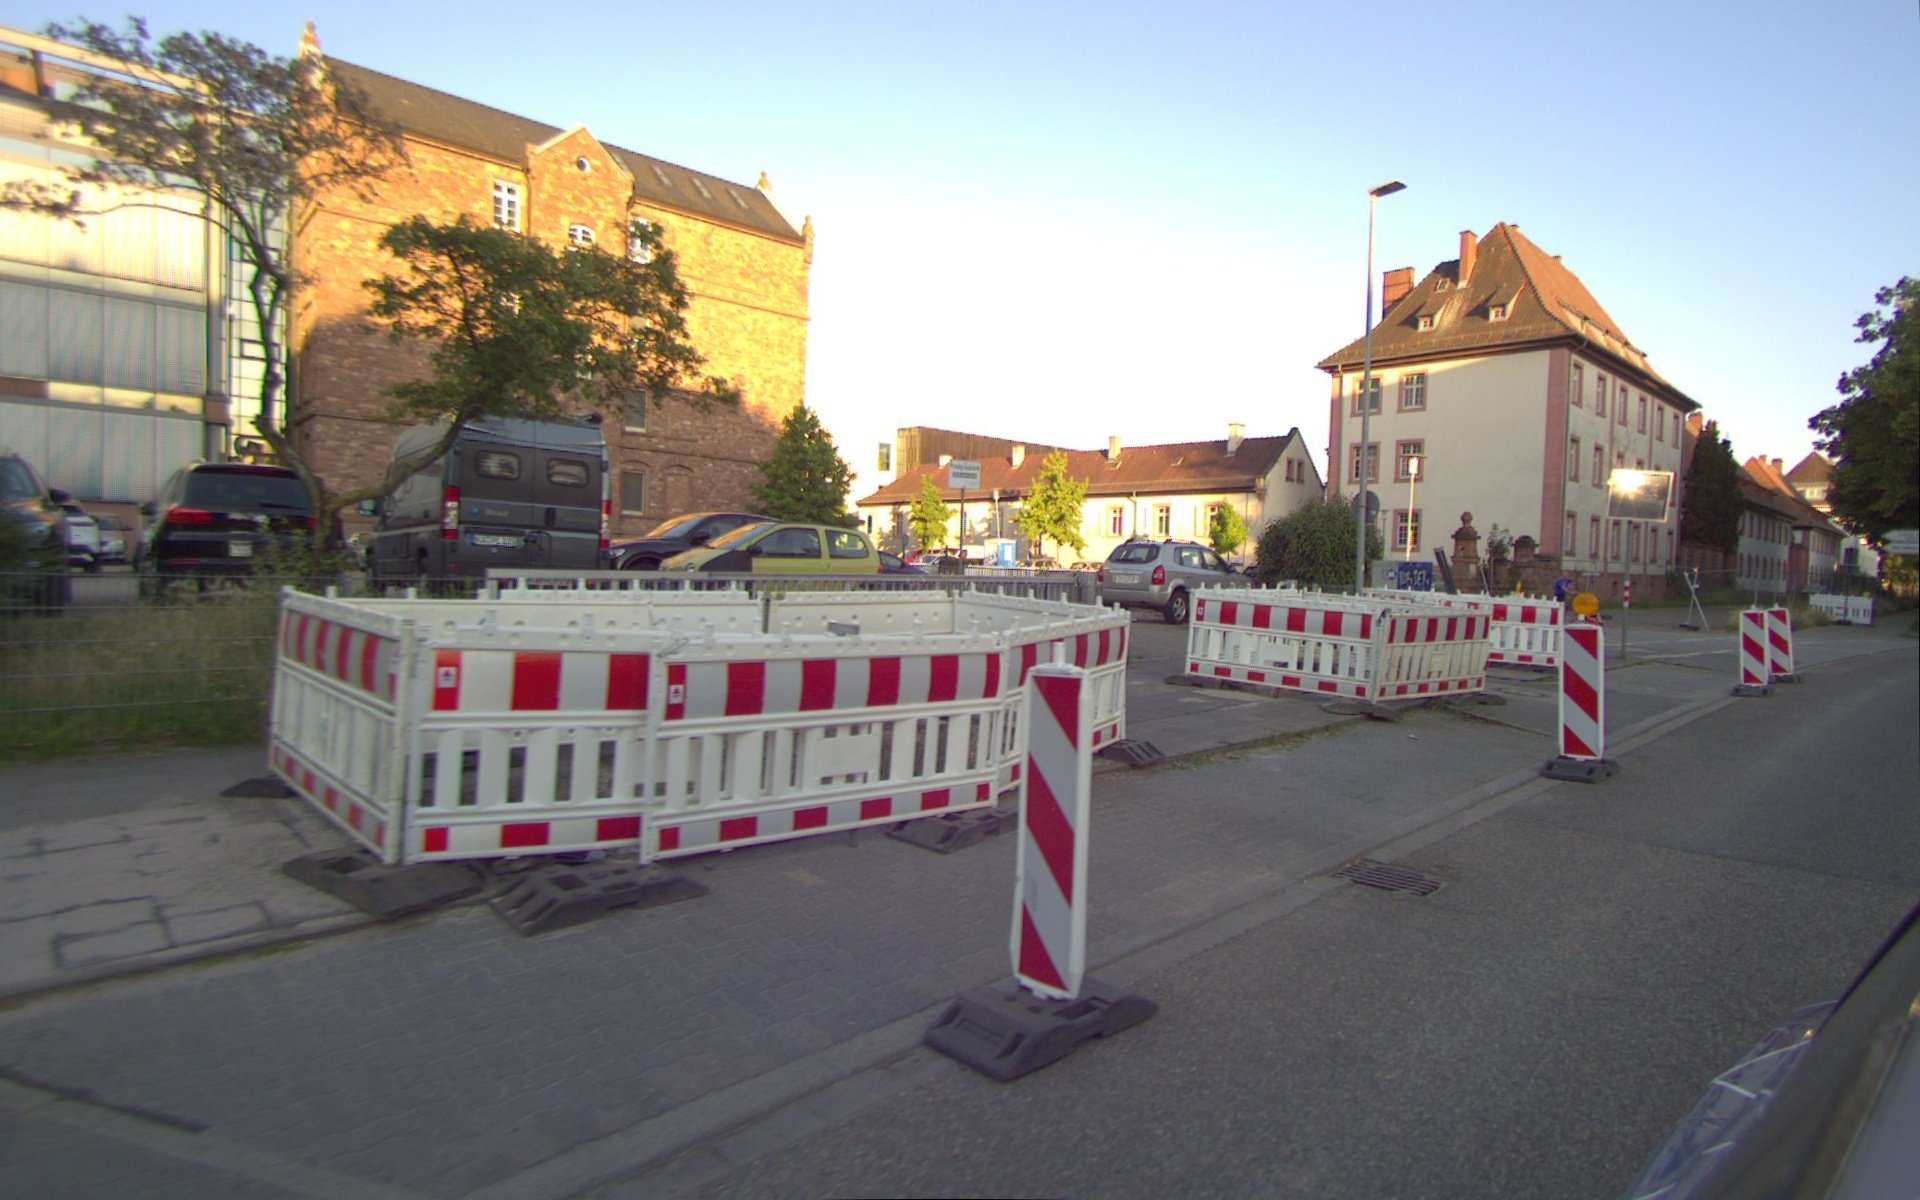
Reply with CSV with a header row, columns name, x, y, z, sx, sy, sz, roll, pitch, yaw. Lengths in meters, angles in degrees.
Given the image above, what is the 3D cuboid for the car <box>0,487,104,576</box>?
name,x,y,z,sx,sy,sz,roll,pitch,yaw
car,-17.931,-1.337,19.752,1.810,1.557,4.359,0,3,-41

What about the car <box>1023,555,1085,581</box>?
name,x,y,z,sx,sy,sz,roll,pitch,yaw
car,5.573,-1.895,60.058,1.682,1.463,3.692,4,3,45

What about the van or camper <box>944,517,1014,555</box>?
name,x,y,z,sx,sy,sz,roll,pitch,yaw
van or camper,1.307,-4.216,66.916,1.682,2.268,4.898,3,3,45

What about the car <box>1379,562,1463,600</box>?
name,x,y,z,sx,sy,sz,roll,pitch,yaw
car,19.619,-0.794,43.019,1.995,1.477,3.935,4,3,45

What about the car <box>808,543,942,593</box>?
name,x,y,z,sx,sy,sz,roll,pitch,yaw
car,-2.679,-1.021,32.479,4.066,1.501,1.641,-1,3,-40

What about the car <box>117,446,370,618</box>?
name,x,y,z,sx,sy,sz,roll,pitch,yaw
car,-8.744,-0.799,12.210,1.967,1.713,3.992,0,3,-43

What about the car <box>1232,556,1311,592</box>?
name,x,y,z,sx,sy,sz,roll,pitch,yaw
car,14.958,-1.239,48.461,1.995,1.592,3.935,4,3,45

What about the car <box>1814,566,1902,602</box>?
name,x,y,z,sx,sy,sz,roll,pitch,yaw
car,56.255,-1.027,63.416,3.989,2.038,1.969,4,3,44

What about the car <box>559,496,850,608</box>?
name,x,y,z,sx,sy,sz,roll,pitch,yaw
car,-4.181,-0.776,17.028,4.517,1.658,1.574,-1,3,-40

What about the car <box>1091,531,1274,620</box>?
name,x,y,z,sx,sy,sz,roll,pitch,yaw
car,4.832,-0.538,21.674,4.211,1.729,1.700,-1,3,-43

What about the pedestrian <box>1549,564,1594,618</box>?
name,x,y,z,sx,sy,sz,roll,pitch,yaw
pedestrian,19.591,-0.295,32.443,0.739,1.662,1.013,0,2,-41

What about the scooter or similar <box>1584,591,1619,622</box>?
name,x,y,z,sx,sy,sz,roll,pitch,yaw
scooter or similar,20.083,0.194,31.694,0.506,0.901,0.805,0,2,-41

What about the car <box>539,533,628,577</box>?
name,x,y,z,sx,sy,sz,roll,pitch,yaw
car,-14.582,-1.769,39.069,1.870,1.556,4.174,0,3,-41

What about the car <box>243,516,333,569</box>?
name,x,y,z,sx,sy,sz,roll,pitch,yaw
car,-21.593,-1.851,32.447,1.870,1.556,4.174,0,3,-41

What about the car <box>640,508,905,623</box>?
name,x,y,z,sx,sy,sz,roll,pitch,yaw
car,-2.767,-0.519,15.257,3.579,1.522,1.636,-1,3,-40

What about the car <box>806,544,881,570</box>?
name,x,y,z,sx,sy,sz,roll,pitch,yaw
car,-6.944,-2.570,60.524,3.932,1.329,2.061,1,3,-43

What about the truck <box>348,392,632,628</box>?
name,x,y,z,sx,sy,sz,roll,pitch,yaw
truck,-6.683,-1.153,14.028,2.300,2.648,4.968,0,3,-41

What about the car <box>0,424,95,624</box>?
name,x,y,z,sx,sy,sz,roll,pitch,yaw
car,-10.111,-0.782,10.166,1.967,1.748,4.293,0,3,-43

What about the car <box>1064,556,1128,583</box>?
name,x,y,z,sx,sy,sz,roll,pitch,yaw
car,7.786,-1.726,57.738,1.682,1.463,3.692,4,3,45
